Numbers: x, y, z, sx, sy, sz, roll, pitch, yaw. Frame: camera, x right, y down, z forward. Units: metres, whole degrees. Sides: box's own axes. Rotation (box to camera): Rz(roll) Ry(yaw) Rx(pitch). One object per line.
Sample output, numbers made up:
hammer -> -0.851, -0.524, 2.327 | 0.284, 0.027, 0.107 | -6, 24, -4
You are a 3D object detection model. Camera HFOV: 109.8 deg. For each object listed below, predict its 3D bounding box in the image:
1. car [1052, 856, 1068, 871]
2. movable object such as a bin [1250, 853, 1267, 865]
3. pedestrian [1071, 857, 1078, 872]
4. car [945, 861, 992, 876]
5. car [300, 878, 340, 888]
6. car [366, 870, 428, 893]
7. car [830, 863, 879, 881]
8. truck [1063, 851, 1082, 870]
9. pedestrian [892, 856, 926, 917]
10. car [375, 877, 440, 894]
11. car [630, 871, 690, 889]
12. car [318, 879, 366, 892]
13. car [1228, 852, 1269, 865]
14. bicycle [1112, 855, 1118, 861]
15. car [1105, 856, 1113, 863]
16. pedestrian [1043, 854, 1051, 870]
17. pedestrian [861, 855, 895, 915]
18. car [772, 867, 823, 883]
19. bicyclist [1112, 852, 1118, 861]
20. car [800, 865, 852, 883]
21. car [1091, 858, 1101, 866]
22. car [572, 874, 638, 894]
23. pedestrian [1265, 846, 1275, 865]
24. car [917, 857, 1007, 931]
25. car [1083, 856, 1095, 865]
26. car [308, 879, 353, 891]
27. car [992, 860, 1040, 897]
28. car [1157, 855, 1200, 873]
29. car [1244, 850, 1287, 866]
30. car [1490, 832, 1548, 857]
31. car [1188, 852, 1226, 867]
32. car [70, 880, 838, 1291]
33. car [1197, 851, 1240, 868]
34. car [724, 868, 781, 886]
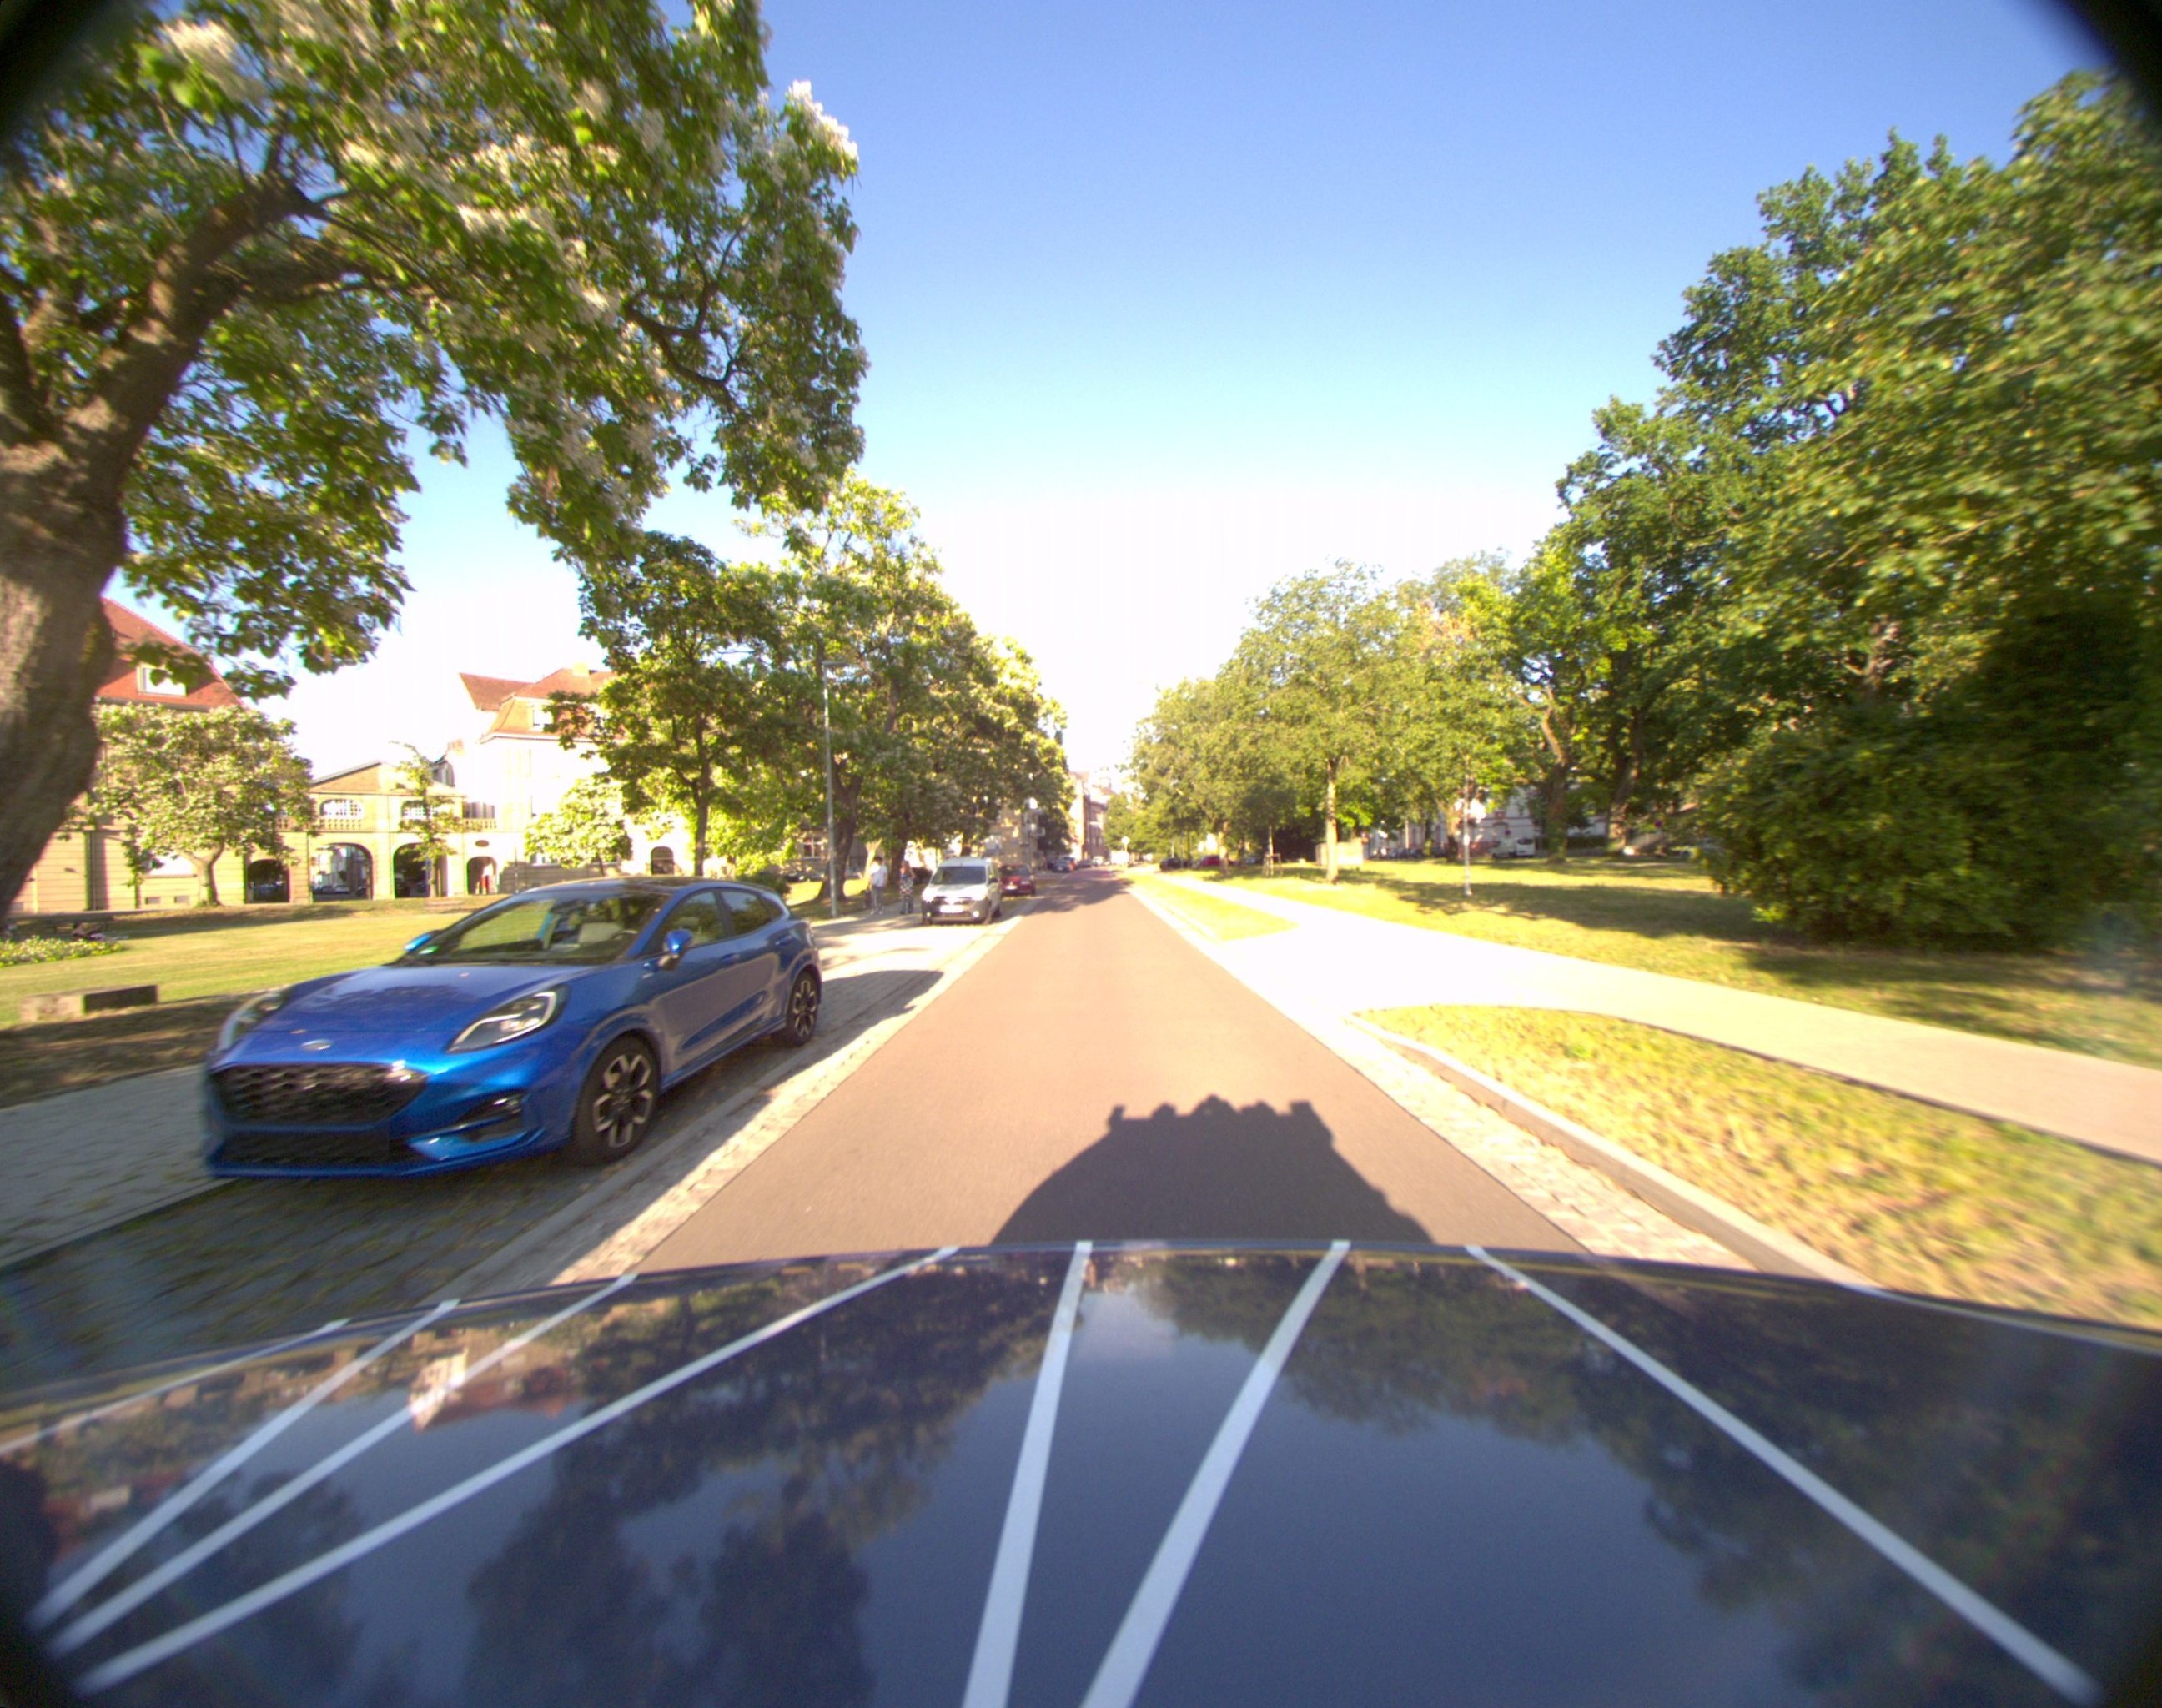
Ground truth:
car -> -2.378, 1.094, 88.088 | 1.707, 1.616, 4.349 | 0, -1, 1
movable object such as a bin -> 16.313, 0.463, 69.724 | 1.332, 0.984, 0.950 | -1, 1, 3
pedestrian -> -0.765, 1.200, 89.271 | 0.778, 1.759, 0.955 | -3, 0, 2
car -> -11.290, 1.435, 76.325 | 4.452, 1.410, 1.935 | -2, 1, -5
car -> -121.801, 4.677, 121.629 | 1.814, 1.409, 4.380 | -1, 1, 41
car -> -69.780, 2.753, 77.596 | 1.814, 2.096, 4.380 | -1, 1, 38
car -> -22.221, 1.765, 74.623 | 4.456, 1.590, 1.800 | -2, 1, -17
truck -> -1.177, 0.883, 110.189 | 2.133, 2.549, 6.877 | -1, 0, 3
pedestrian -> -5.087, 0.946, 22.491 | 0.755, 1.726, 0.732 | -3, 0, 1
car -> -65.054, 2.998, 73.473 | 1.814, 1.409, 4.380 | -1, 1, 35
car -> -37.927, 2.324, 68.476 | 4.657, 1.409, 1.815 | -2, 1, -31
car -> -98.161, 4.189, 100.905 | 1.814, 1.409, 4.380 | -1, 1, 41
car -> 19.312, 0.530, 87.789 | 4.281, 1.392, 1.836 | -2, 1, -21
bicycle -> 6.284, 0.786, 140.205 | 0.739, 1.129, 2.105 | -2, 0, 7
car -> 6.326, 1.178, 170.816 | 1.582, 1.499, 3.849 | -1, 0, 7
pedestrian -> -4.012, 0.909, 89.044 | 0.733, 1.819, 0.555 | -3, 0, -35
pedestrian -> -5.988, 0.899, 22.472 | 0.727, 1.726, 0.732 | -3, 0, 1
car -> -27.255, 2.023, 73.101 | 4.458, 1.316, 1.502 | -2, 1, -21
bicyclist -> 6.271, 0.464, 140.154 | 0.939, 1.693, 0.906 | -2, 0, 7
car -> -22.895, 1.807, 68.321 | 4.370, 1.409, 1.842 | -2, 1, -19
car -> 2.921, 1.500, 149.349 | 1.509, 1.437, 3.731 | -1, 0, 7
car -> -38.312, 2.378, 61.335 | 4.378, 1.409, 1.815 | -2, 1, -29
pedestrian -> 17.314, 0.154, 69.648 | 0.663, 1.686, 0.672 | -3, 0, 2
car -> -3.112, 0.989, 20.766 | 1.682, 1.730, 4.513 | -1, 0, 0
car -> 1.473, 1.168, 139.056 | 1.610, 1.608, 3.952 | -1, 0, 7
car -> -106.298, 4.359, 107.653 | 1.814, 1.409, 4.380 | -1, 1, 41
car -> -2.892, 1.068, 34.689 | 1.682, 1.477, 4.809 | -1, 0, 0
car -> 9.985, 0.991, 77.935 | 4.004, 1.565, 1.887 | -3, 2, -24
car -> 19.781, 0.387, 81.473 | 4.003, 1.565, 1.887 | -2, 2, -20
car -> 40.338, -0.830, 70.140 | 2.675, 2.101, 4.971 | -3, 0, 5
car -> 14.241, 0.622, 85.823 | 3.851, 1.622, 1.836 | -2, 1, -23
car -> -3.336, 1.058, 5.348 | 1.736, 1.542, 4.275 | -1, 0, 2
car -> 14.422, 0.540, 79.554 | 4.004, 1.565, 1.887 | -3, 2, -24
car -> -28.567, 1.967, 66.161 | 4.443, 1.409, 1.564 | -2, 1, -23
